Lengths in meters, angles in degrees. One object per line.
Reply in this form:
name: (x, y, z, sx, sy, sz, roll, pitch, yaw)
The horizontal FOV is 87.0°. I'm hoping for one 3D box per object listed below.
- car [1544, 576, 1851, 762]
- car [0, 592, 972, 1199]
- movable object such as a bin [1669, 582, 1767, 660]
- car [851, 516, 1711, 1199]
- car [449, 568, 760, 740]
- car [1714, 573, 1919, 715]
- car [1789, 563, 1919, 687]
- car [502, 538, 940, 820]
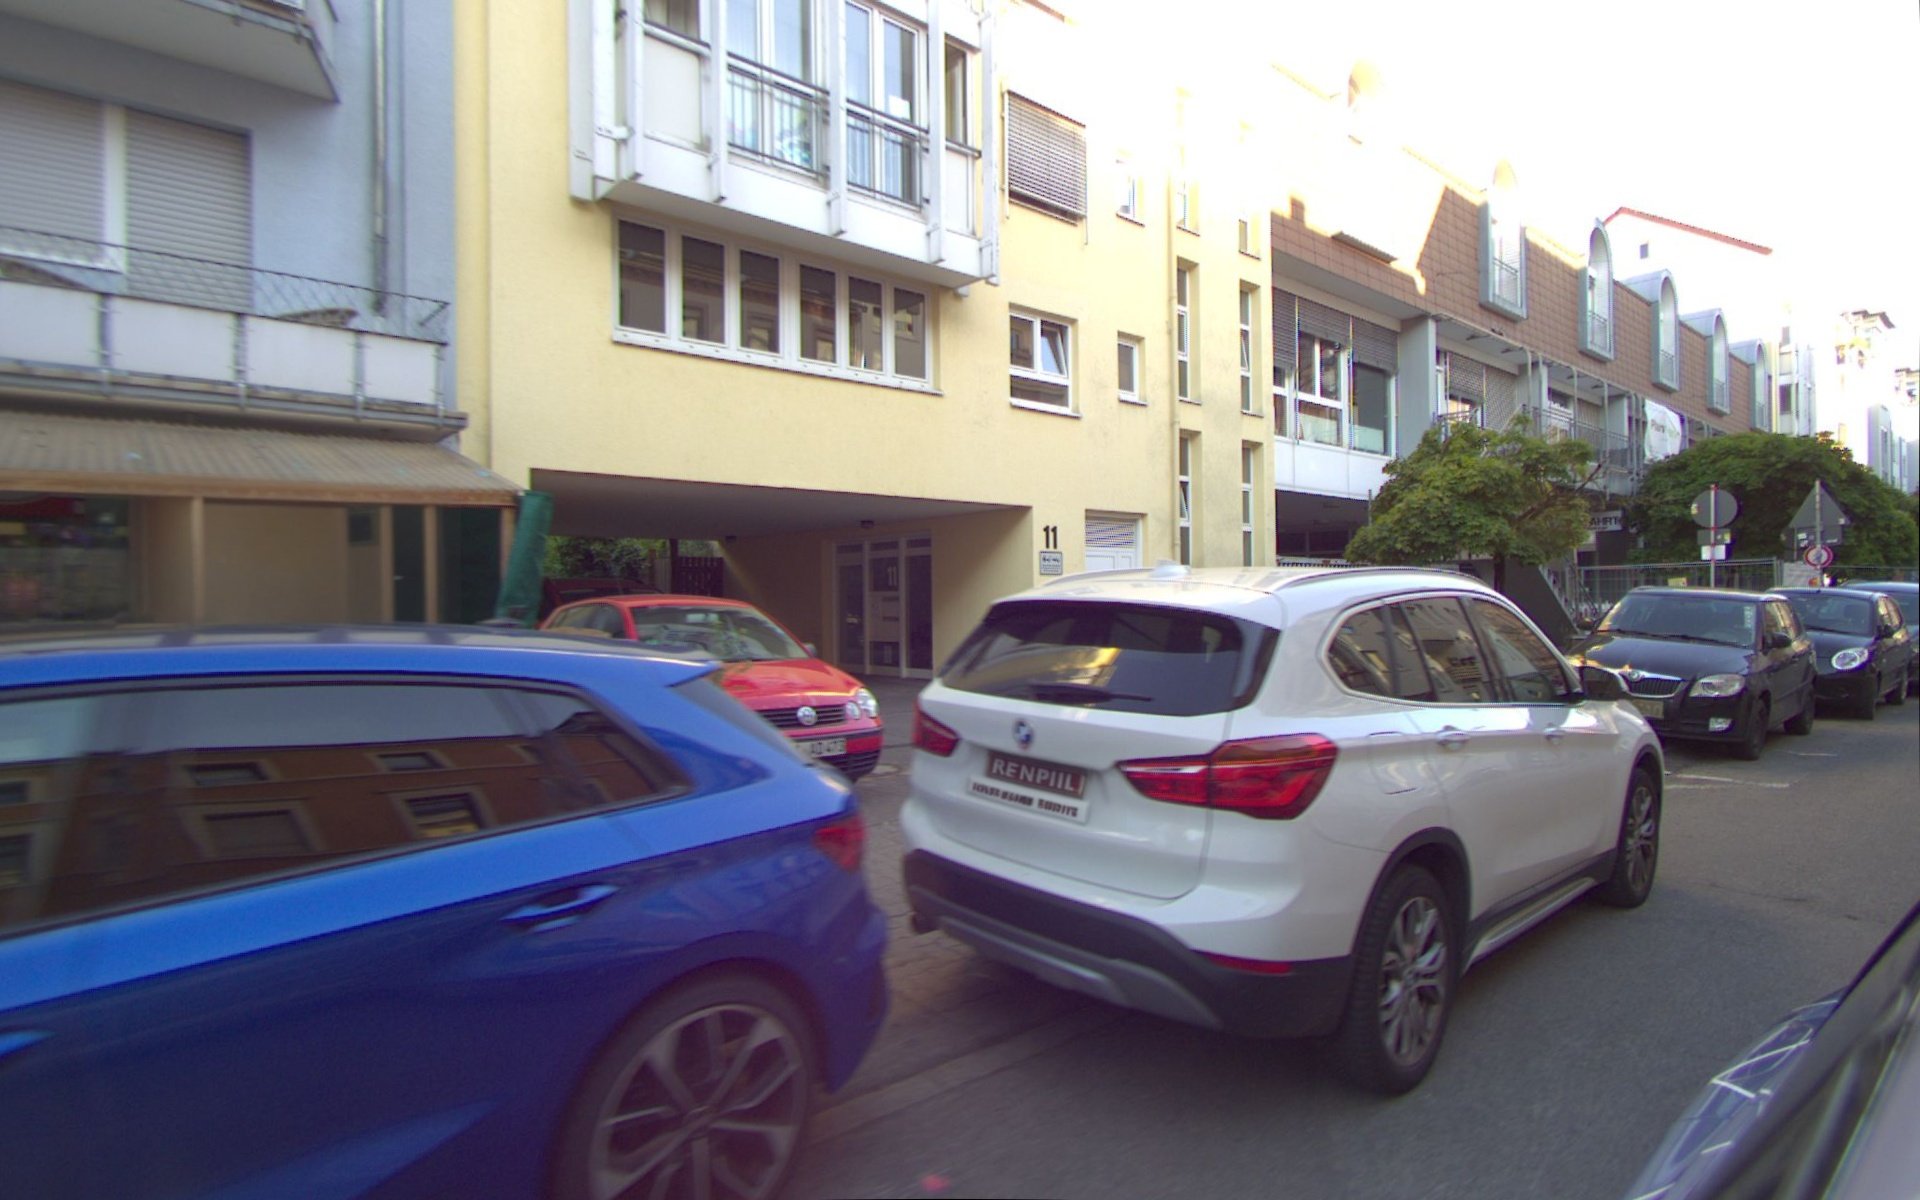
car: (7.556, 0.527, 10.221, 4.052, 1.504, 1.623, -1, 2, -41)
car: (-2.088, 0.709, 1.974, 4.222, 1.405, 1.725, -1, 1, -43)
movable object such as a bin: (14.058, 0.396, 18.807, 1.241, 1.394, 0.795, -3, -2, 24)
car: (1.835, 0.592, 4.554, 4.512, 1.632, 1.723, -1, 0, -44)
car: (-4.366, 0.520, 12.089, 1.967, 1.680, 4.109, -1, 0, -44)
car: (11.182, 0.481, 13.003, 3.629, 1.577, 1.624, -1, -1, -41)
car: (14.588, 0.329, 15.708, 4.444, 1.705, 1.752, -1, -1, -39)
car: (-2.060, 0.504, 7.880, 1.665, 1.628, 3.900, -1, -1, -41)
